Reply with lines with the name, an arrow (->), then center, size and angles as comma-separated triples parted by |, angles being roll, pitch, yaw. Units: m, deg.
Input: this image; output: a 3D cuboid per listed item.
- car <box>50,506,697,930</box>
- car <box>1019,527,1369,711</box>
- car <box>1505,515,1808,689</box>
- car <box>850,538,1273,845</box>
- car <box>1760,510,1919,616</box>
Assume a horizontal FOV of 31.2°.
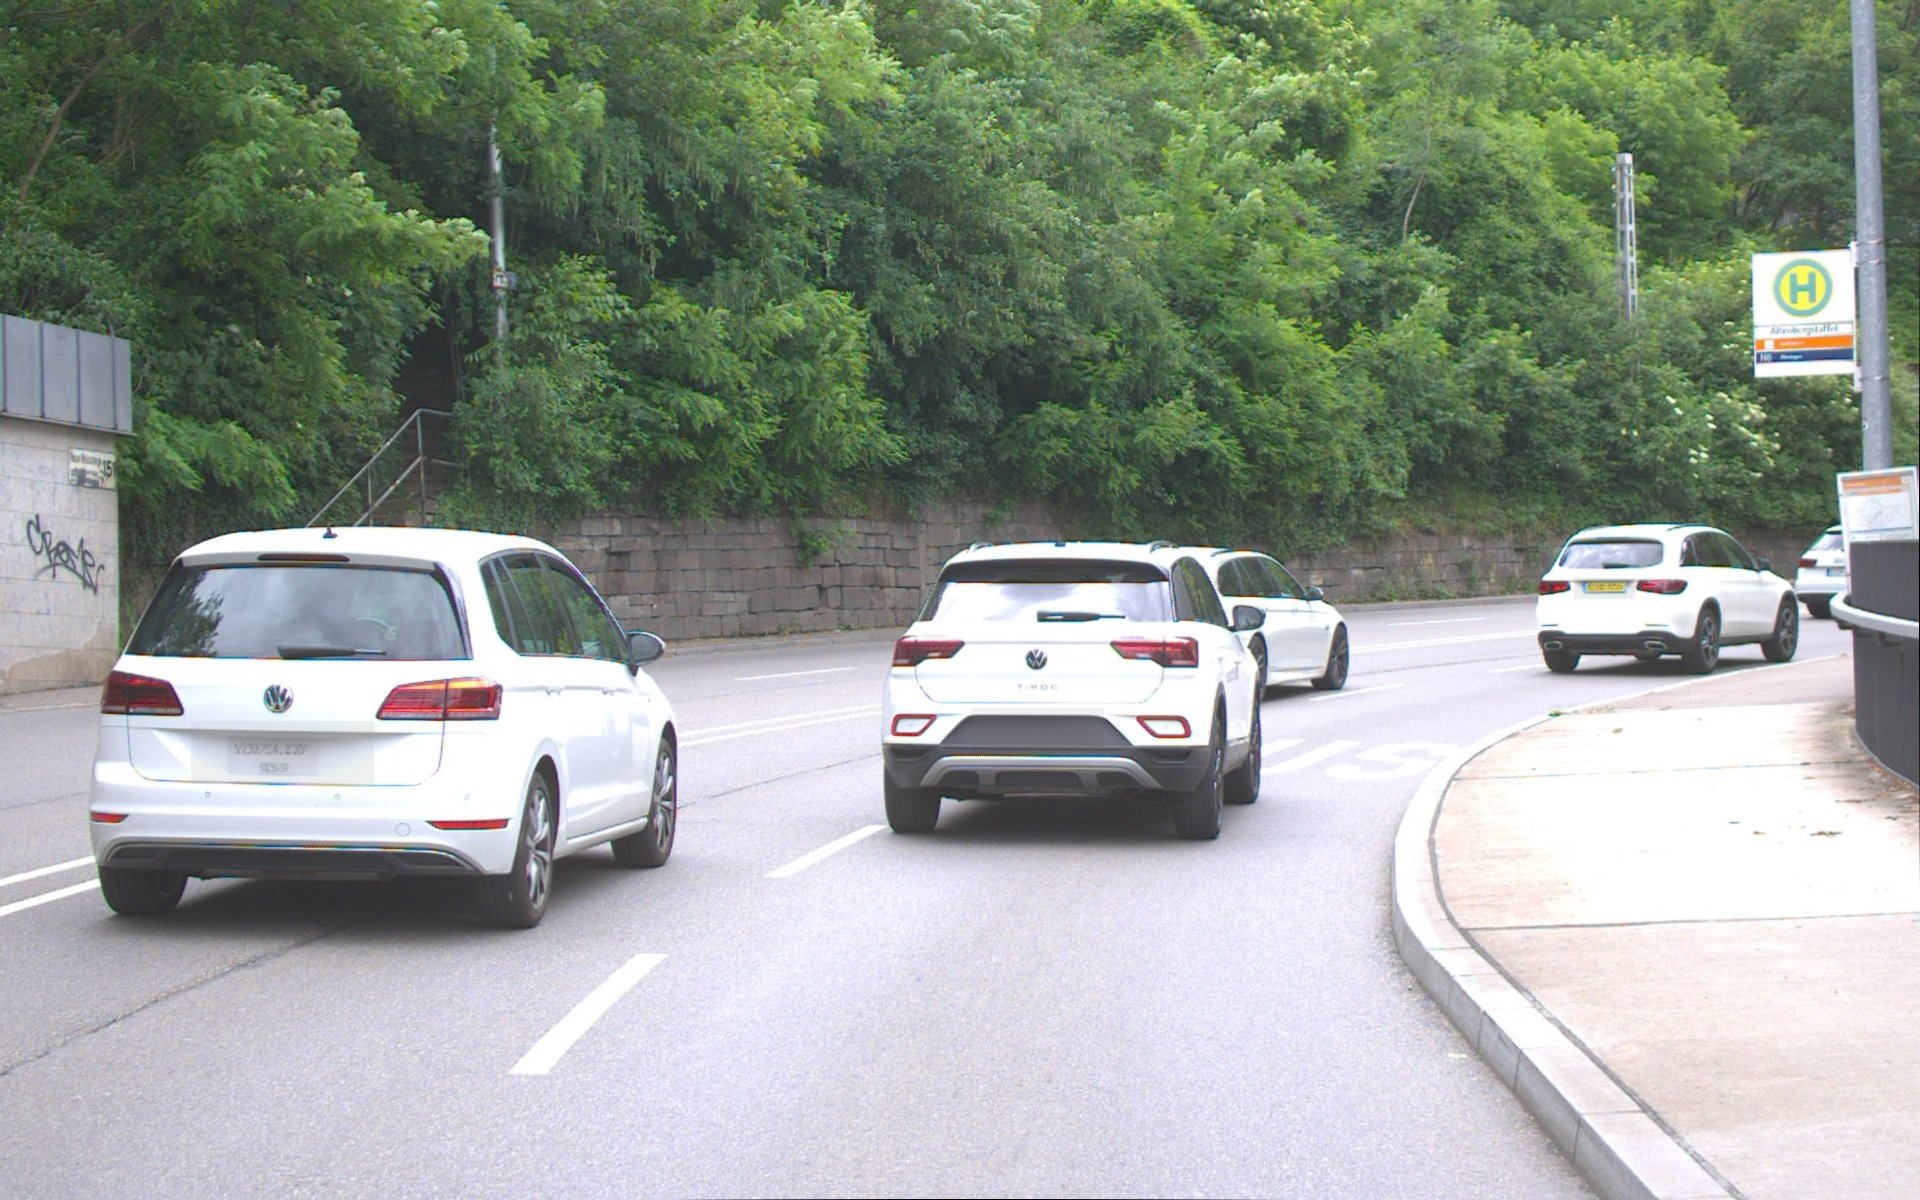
car -> -2.346, 0.402, 14.881 | 1.720, 1.549, 4.275 | 1, 1, 5
car -> 2.372, 0.120, 33.508 | 1.996, 1.552, 4.676 | 3, 3, 22
car -> 7.997, 0.028, 39.219 | 1.997, 1.837, 4.142 | 2, 1, 32
car -> 0.681, 0.461, 19.317 | 1.814, 1.534, 4.007 | 0, 0, 10
car -> 14.198, -0.539, 53.050 | 1.745, 1.514, 4.298 | 2, 1, 41
